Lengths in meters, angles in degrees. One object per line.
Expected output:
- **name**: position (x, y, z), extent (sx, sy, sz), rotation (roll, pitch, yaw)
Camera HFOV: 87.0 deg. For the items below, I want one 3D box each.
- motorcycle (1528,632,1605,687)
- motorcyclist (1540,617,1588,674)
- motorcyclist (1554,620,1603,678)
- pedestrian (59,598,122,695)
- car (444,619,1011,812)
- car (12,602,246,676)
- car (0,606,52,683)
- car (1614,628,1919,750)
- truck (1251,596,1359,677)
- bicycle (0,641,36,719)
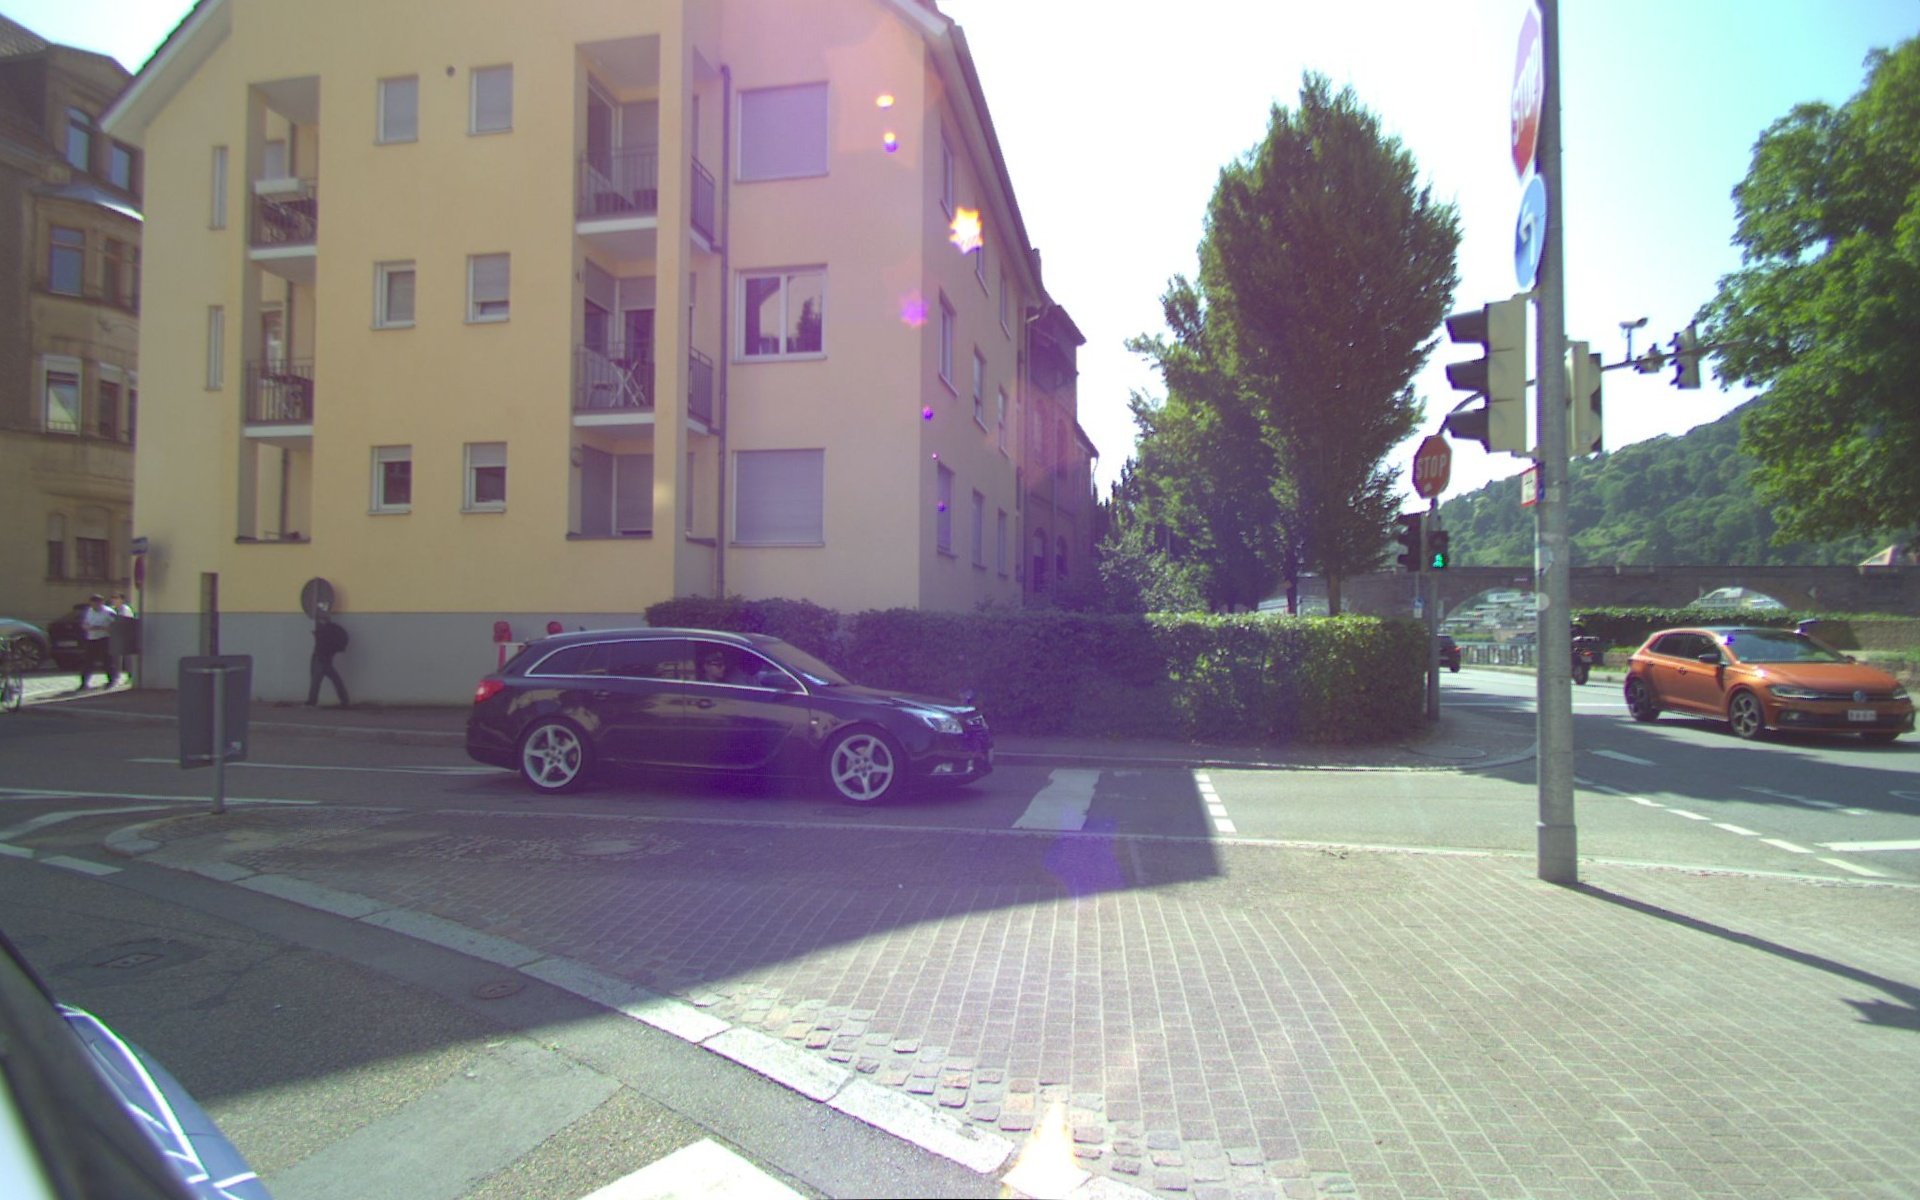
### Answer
- **motorcycle**: position (16.281, 1.578, 27.246), extent (0.754, 1.387, 2.467), rotation (0, -2, 5)
- **motorcyclist**: position (16.323, 1.225, 27.355), extent (0.808, 1.506, 0.873), rotation (0, -1, 5)
- **motorcyclist**: position (16.228, 1.279, 26.581), extent (0.808, 1.504, 0.772), rotation (0, -2, 5)
- **pedestrian**: position (-14.913, 0.790, 17.372), extent (0.485, 1.630, 0.657), rotation (1, -1, -4)
- **car**: position (-1.935, 0.969, 9.133), extent (4.668, 1.473, 1.715), rotation (0, -4, 8)
- **car**: position (-19.164, 0.862, 23.589), extent (1.832, 1.556, 3.987), rotation (0, -1, 10)
- **car**: position (-20.302, 0.852, 19.474), extent (1.831, 1.556, 3.917), rotation (0, -2, 9)
- **car**: position (10.932, 1.101, 13.831), extent (1.710, 1.416, 4.009), rotation (0, -2, 7)
- **truck**: position (20.104, 2.141, 60.029), extent (3.174, 4.246, 12.742), rotation (0, -2, 6)
- **bicycle**: position (-14.312, 1.147, 14.896), extent (1.900, 1.087, 0.388), rotation (0, -2, 27)
